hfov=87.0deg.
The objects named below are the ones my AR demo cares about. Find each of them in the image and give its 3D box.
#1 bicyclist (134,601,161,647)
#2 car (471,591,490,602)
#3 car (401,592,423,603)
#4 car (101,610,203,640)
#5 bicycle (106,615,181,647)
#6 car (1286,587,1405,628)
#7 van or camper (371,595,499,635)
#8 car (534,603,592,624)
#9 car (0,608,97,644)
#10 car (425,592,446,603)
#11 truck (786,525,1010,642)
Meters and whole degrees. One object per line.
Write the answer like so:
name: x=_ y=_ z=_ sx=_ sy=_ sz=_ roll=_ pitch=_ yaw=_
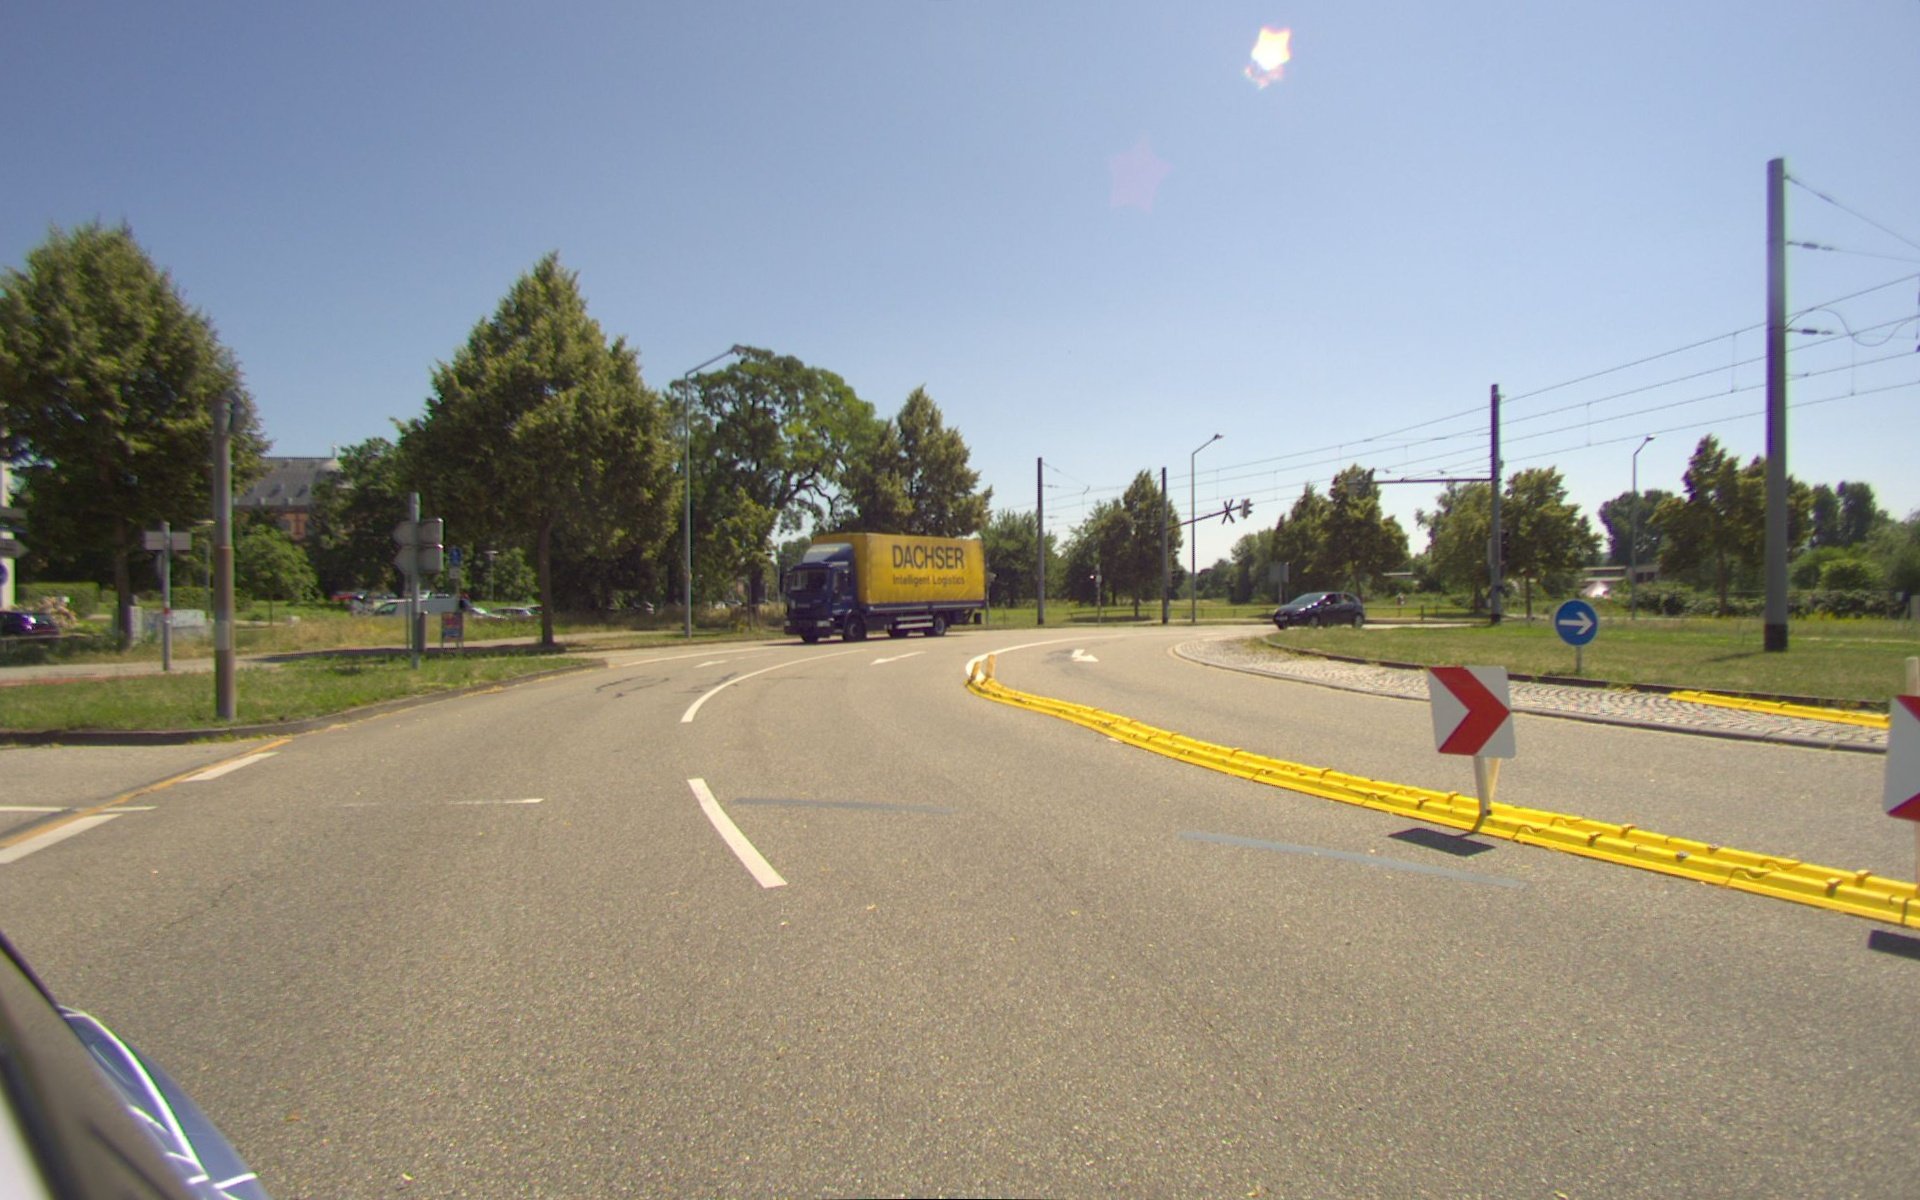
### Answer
bicyclist: x=-29.480 y=0.860 z=36.716 sx=0.646 sy=1.676 sz=0.700 roll=-1 pitch=0 yaw=43
car: x=-62.777 y=-0.426 z=132.542 sx=1.456 sy=1.427 sz=3.033 roll=-1 pitch=0 yaw=-7
car: x=-70.940 y=-0.330 z=131.090 sx=1.456 sy=1.427 sz=3.033 roll=-1 pitch=0 yaw=-7
car: x=-36.174 y=1.106 z=45.336 sx=3.463 sy=1.226 sz=1.357 roll=-1 pitch=0 yaw=-2
bicycle: x=-29.553 y=1.098 z=36.659 sx=0.439 sy=1.066 sz=2.059 roll=2 pitch=2 yaw=43
car: x=14.866 y=0.263 z=39.094 sx=3.931 sy=1.429 sz=1.986 roll=-1 pitch=1 yaw=-20
van or camper: x=-25.623 y=0.702 z=49.496 sx=5.195 sy=1.871 sz=2.001 roll=-1 pitch=0 yaw=-3
car: x=-26.228 y=0.878 z=66.896 sx=3.340 sy=1.291 sz=1.355 roll=-1 pitch=0 yaw=5
car: x=-35.927 y=0.992 z=39.066 sx=3.752 sy=1.336 sz=1.660 roll=-1 pitch=0 yaw=-2
car: x=-68.534 y=-0.377 z=132.350 sx=1.456 sy=1.427 sz=3.033 roll=-1 pitch=0 yaw=-7
truck: x=-1.890 y=-0.591 z=36.601 sx=2.702 sy=3.686 sz=9.500 roll=-1 pitch=0 yaw=35
